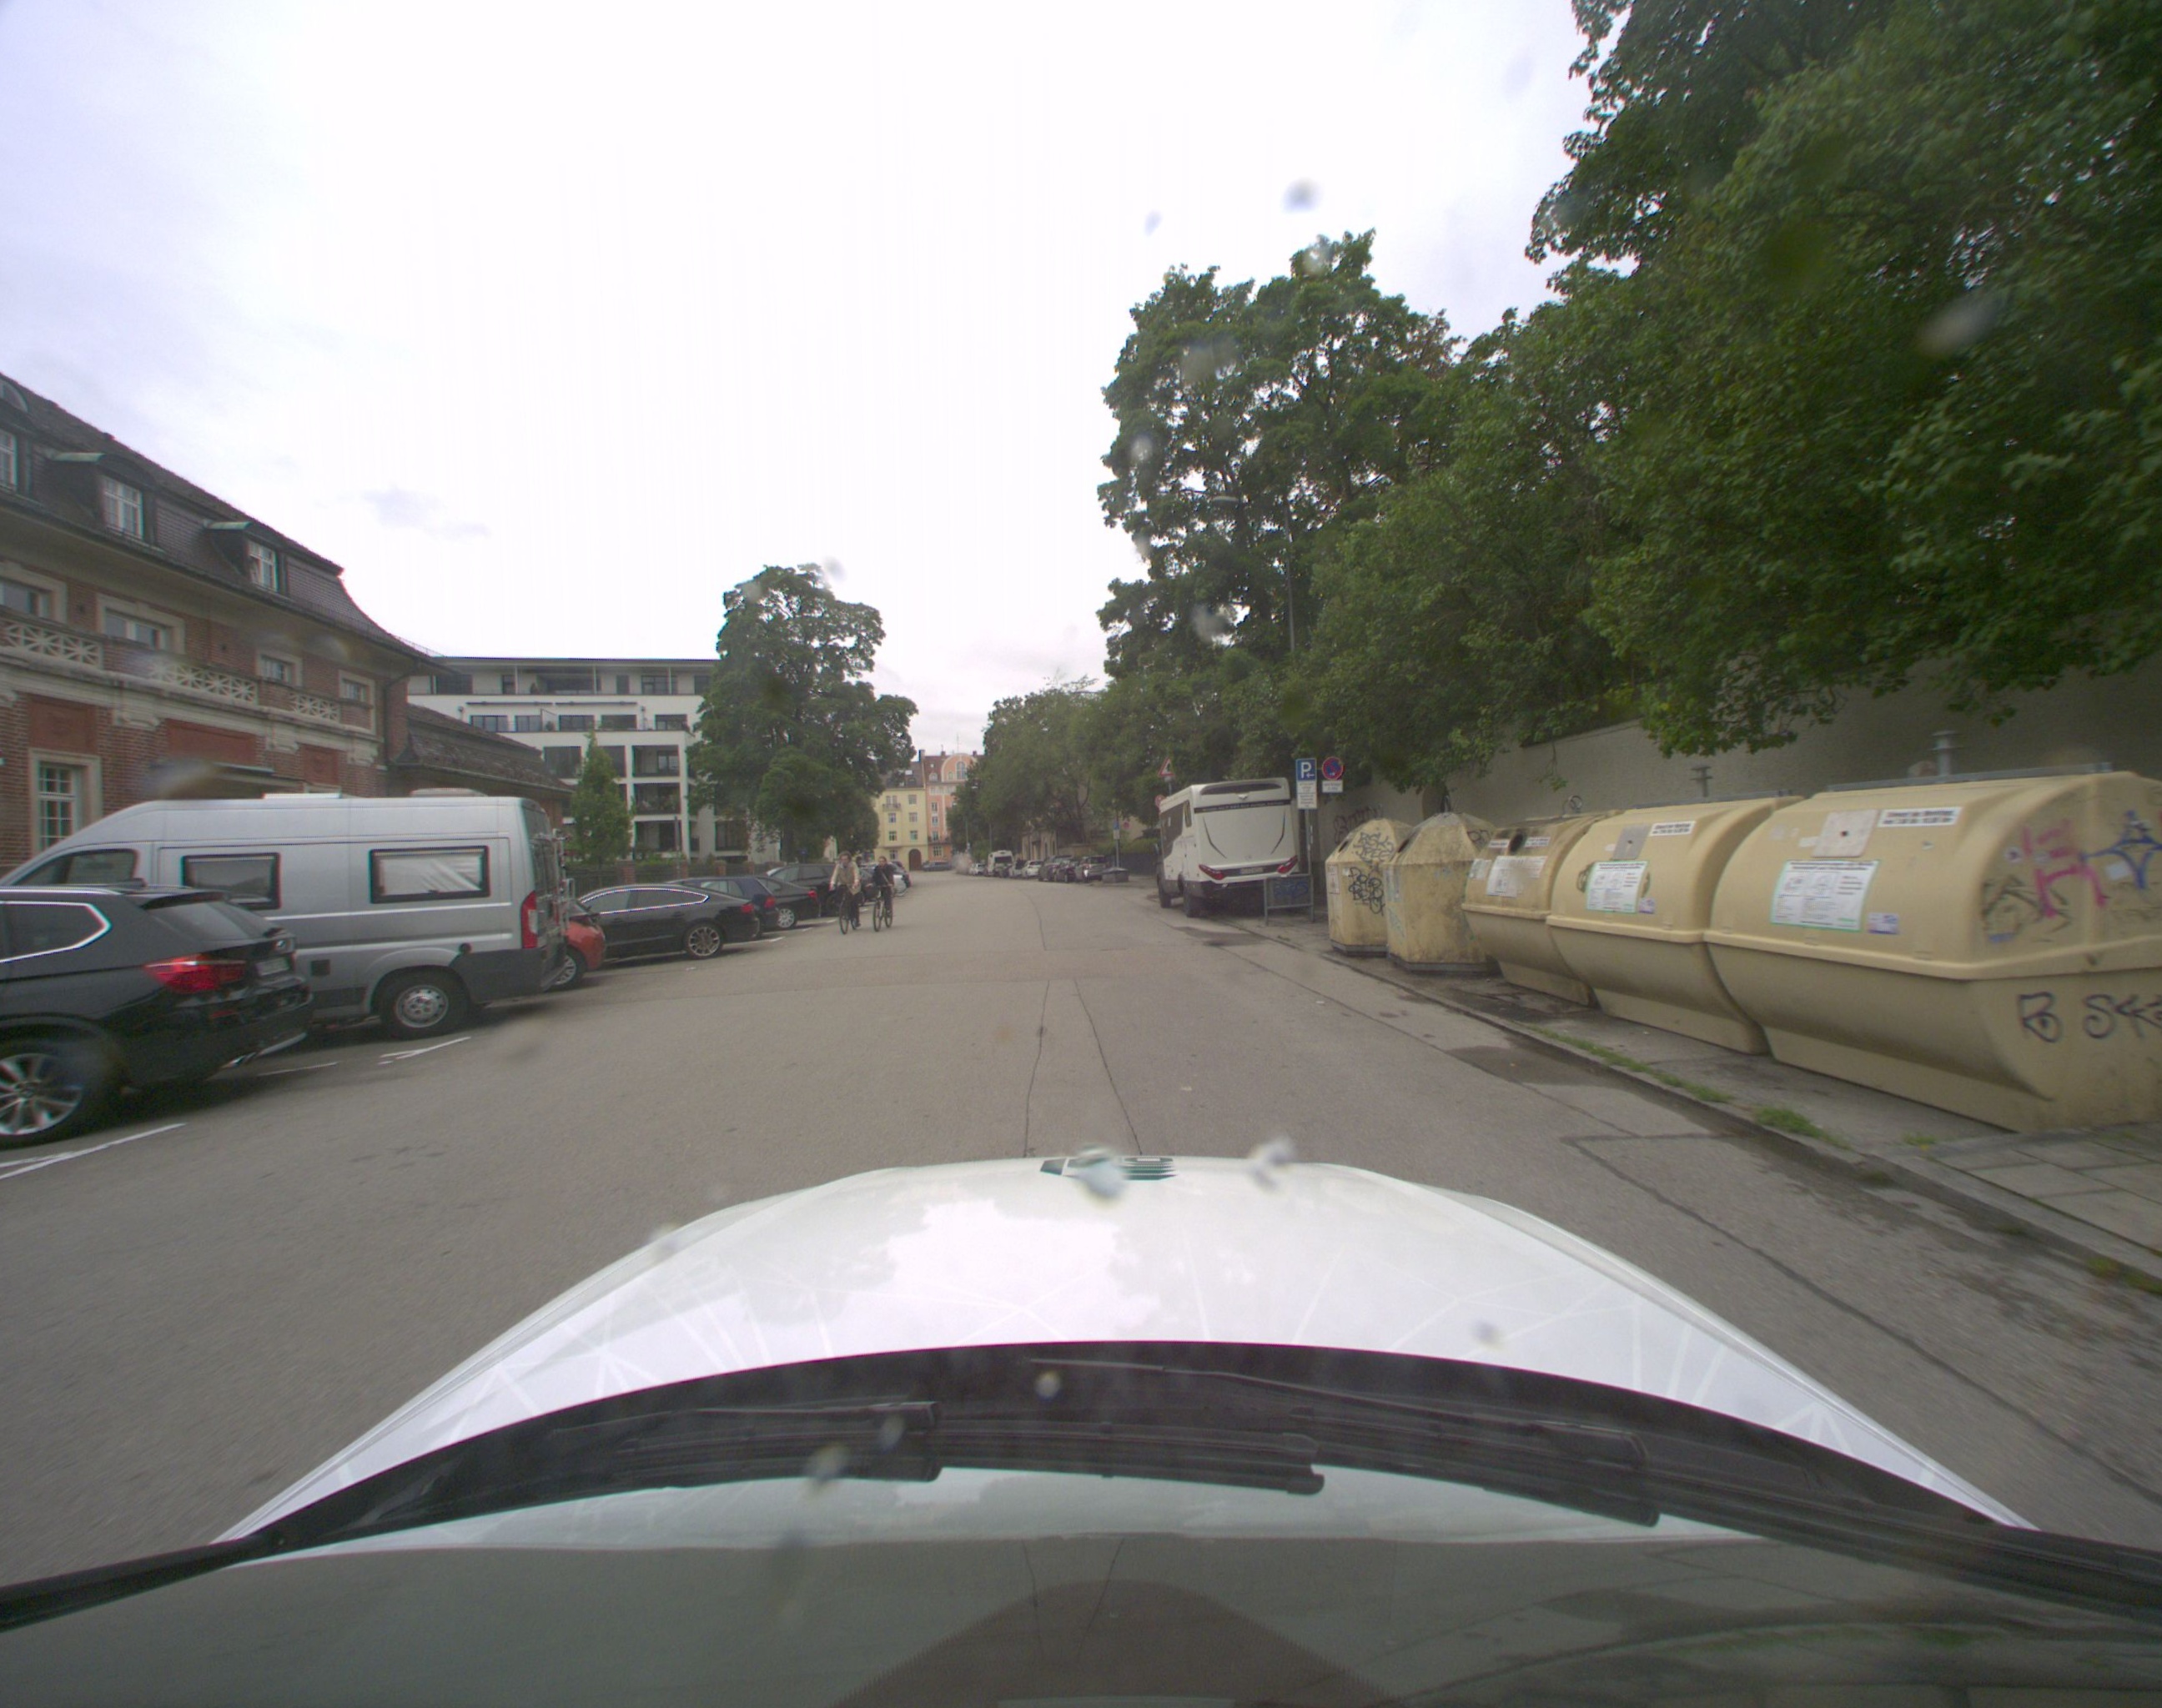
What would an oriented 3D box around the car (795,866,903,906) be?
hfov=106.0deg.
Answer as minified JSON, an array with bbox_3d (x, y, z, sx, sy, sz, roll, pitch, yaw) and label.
[{"bbox_3d":[-11.211,1.536,39.484,4.539,1.509,1.910,-5,0,-38],"label":"car"}]

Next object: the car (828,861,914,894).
[{"bbox_3d":[-12.415,1.375,48.240,2.110,1.699,4.439,-4,-1,44],"label":"car"}]

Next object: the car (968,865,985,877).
[{"bbox_3d":[-13.380,2.150,104.346,1.709,1.466,3.820,-4,0,-13],"label":"car"}]

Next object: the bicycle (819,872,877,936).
[{"bbox_3d":[-5.187,1.078,18.275,0.705,1.305,2.116,-3,0,-2],"label":"bicycle"}]

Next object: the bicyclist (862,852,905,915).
[{"bbox_3d":[-4.433,0.656,18.339,0.695,1.352,0.929,-3,-1,-2],"label":"bicyclist"}]

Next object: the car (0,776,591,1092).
[{"bbox_3d":[-7.978,0.614,8.483,4.648,2.563,2.214,-4,0,-27],"label":"car"}]

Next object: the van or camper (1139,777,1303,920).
[{"bbox_3d":[3.207,-0.096,20.690,2.269,2.906,7.264,-3,0,-5],"label":"van or camper"}]

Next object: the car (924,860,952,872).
[{"bbox_3d":[-25.843,2.157,147.249,4.713,1.881,1.830,-2,-1,-16],"label":"car"}]

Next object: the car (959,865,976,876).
[{"bbox_3d":[-15.844,2.342,113.707,1.674,1.344,3.816,-4,1,-16],"label":"car"}]

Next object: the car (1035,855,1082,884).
[{"bbox_3d":[-1.596,1.049,55.300,1.998,1.711,4.857,-4,0,-16],"label":"car"}]

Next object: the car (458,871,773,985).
[{"bbox_3d":[-8.101,1.195,14.554,4.542,1.451,1.958,-4,0,-31],"label":"car"}]

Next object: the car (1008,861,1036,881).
[{"bbox_3d":[-5.086,1.470,69.535,1.709,1.537,4.221,-4,0,-13],"label":"car"}]

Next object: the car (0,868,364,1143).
[{"bbox_3d":[-8.107,1.090,5.457,4.538,1.625,1.949,-4,-2,-27],"label":"car"}]

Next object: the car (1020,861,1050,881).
[{"bbox_3d":[-3.706,1.396,64.607,1.687,1.441,3.982,-3,-1,-13],"label":"car"}]

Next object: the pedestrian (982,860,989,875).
[{"bbox_3d":[-12.967,1.832,110.107,0.774,2.014,0.560,-2,-1,-16],"label":"pedestrian"}]

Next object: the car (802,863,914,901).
[{"bbox_3d":[-10.191,1.262,37.353,4.539,1.451,1.875,-3,-1,-38],"label":"car"}]

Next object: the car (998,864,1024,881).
[{"bbox_3d":[-6.448,1.704,75.134,1.709,1.369,4.420,-4,0,-13],"label":"car"}]

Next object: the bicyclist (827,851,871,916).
[{"bbox_3d":[-5.203,0.645,18.324,0.695,1.397,0.929,-3,-1,-2],"label":"bicyclist"}]

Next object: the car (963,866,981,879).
[{"bbox_3d":[-14.530,2.446,108.456,1.808,1.466,3.815,-4,1,-17],"label":"car"}]

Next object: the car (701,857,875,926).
[{"bbox_3d":[-8.831,1.103,24.649,4.545,1.665,1.967,-4,-1,-34],"label":"car"}]

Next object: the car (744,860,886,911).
[{"bbox_3d":[-9.732,1.125,29.951,4.547,1.567,1.869,-3,-1,-36],"label":"car"}]

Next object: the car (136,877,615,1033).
[{"bbox_3d":[-8.980,1.182,11.017,4.540,1.517,1.919,-2,-1,-29],"label":"car"}]

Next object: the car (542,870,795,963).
[{"bbox_3d":[-8.688,1.239,17.332,4.545,1.451,1.801,-4,0,-34],"label":"car"}]

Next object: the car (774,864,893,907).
[{"bbox_3d":[-10.264,1.282,33.974,4.414,1.451,1.639,-3,0,-35],"label":"car"}]

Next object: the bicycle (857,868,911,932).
[{"bbox_3d":[-4.417,0.985,18.365,0.705,1.305,2.117,-3,0,-2],"label":"bicycle"}]

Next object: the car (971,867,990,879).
[{"bbox_3d":[-12.278,2.309,99.547,1.710,1.408,4.109,-4,0,-14],"label":"car"}]

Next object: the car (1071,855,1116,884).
[{"bbox_3d":[0.669,0.908,46.857,1.743,1.536,2.930,-4,-1,-16],"label":"car"}]

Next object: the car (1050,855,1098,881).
[{"bbox_3d":[-0.465,0.860,50.823,1.881,1.427,4.199,-4,0,-16],"label":"car"}]

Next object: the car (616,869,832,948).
[{"bbox_3d":[-8.708,1.265,20.000,4.545,1.418,1.907,-4,0,-34],"label":"car"}]

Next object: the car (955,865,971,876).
[{"bbox_3d":[-17.209,2.366,118.416,1.674,1.344,3.816,-4,1,-16],"label":"car"}]

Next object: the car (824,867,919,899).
[{"bbox_3d":[-10.951,1.503,42.773,4.438,1.439,1.941,-2,-1,-44],"label":"car"}]

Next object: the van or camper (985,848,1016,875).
[{"bbox_3d":[-8.114,0.778,81.787,2.196,2.550,5.700,-4,0,-14],"label":"van or camper"}]
